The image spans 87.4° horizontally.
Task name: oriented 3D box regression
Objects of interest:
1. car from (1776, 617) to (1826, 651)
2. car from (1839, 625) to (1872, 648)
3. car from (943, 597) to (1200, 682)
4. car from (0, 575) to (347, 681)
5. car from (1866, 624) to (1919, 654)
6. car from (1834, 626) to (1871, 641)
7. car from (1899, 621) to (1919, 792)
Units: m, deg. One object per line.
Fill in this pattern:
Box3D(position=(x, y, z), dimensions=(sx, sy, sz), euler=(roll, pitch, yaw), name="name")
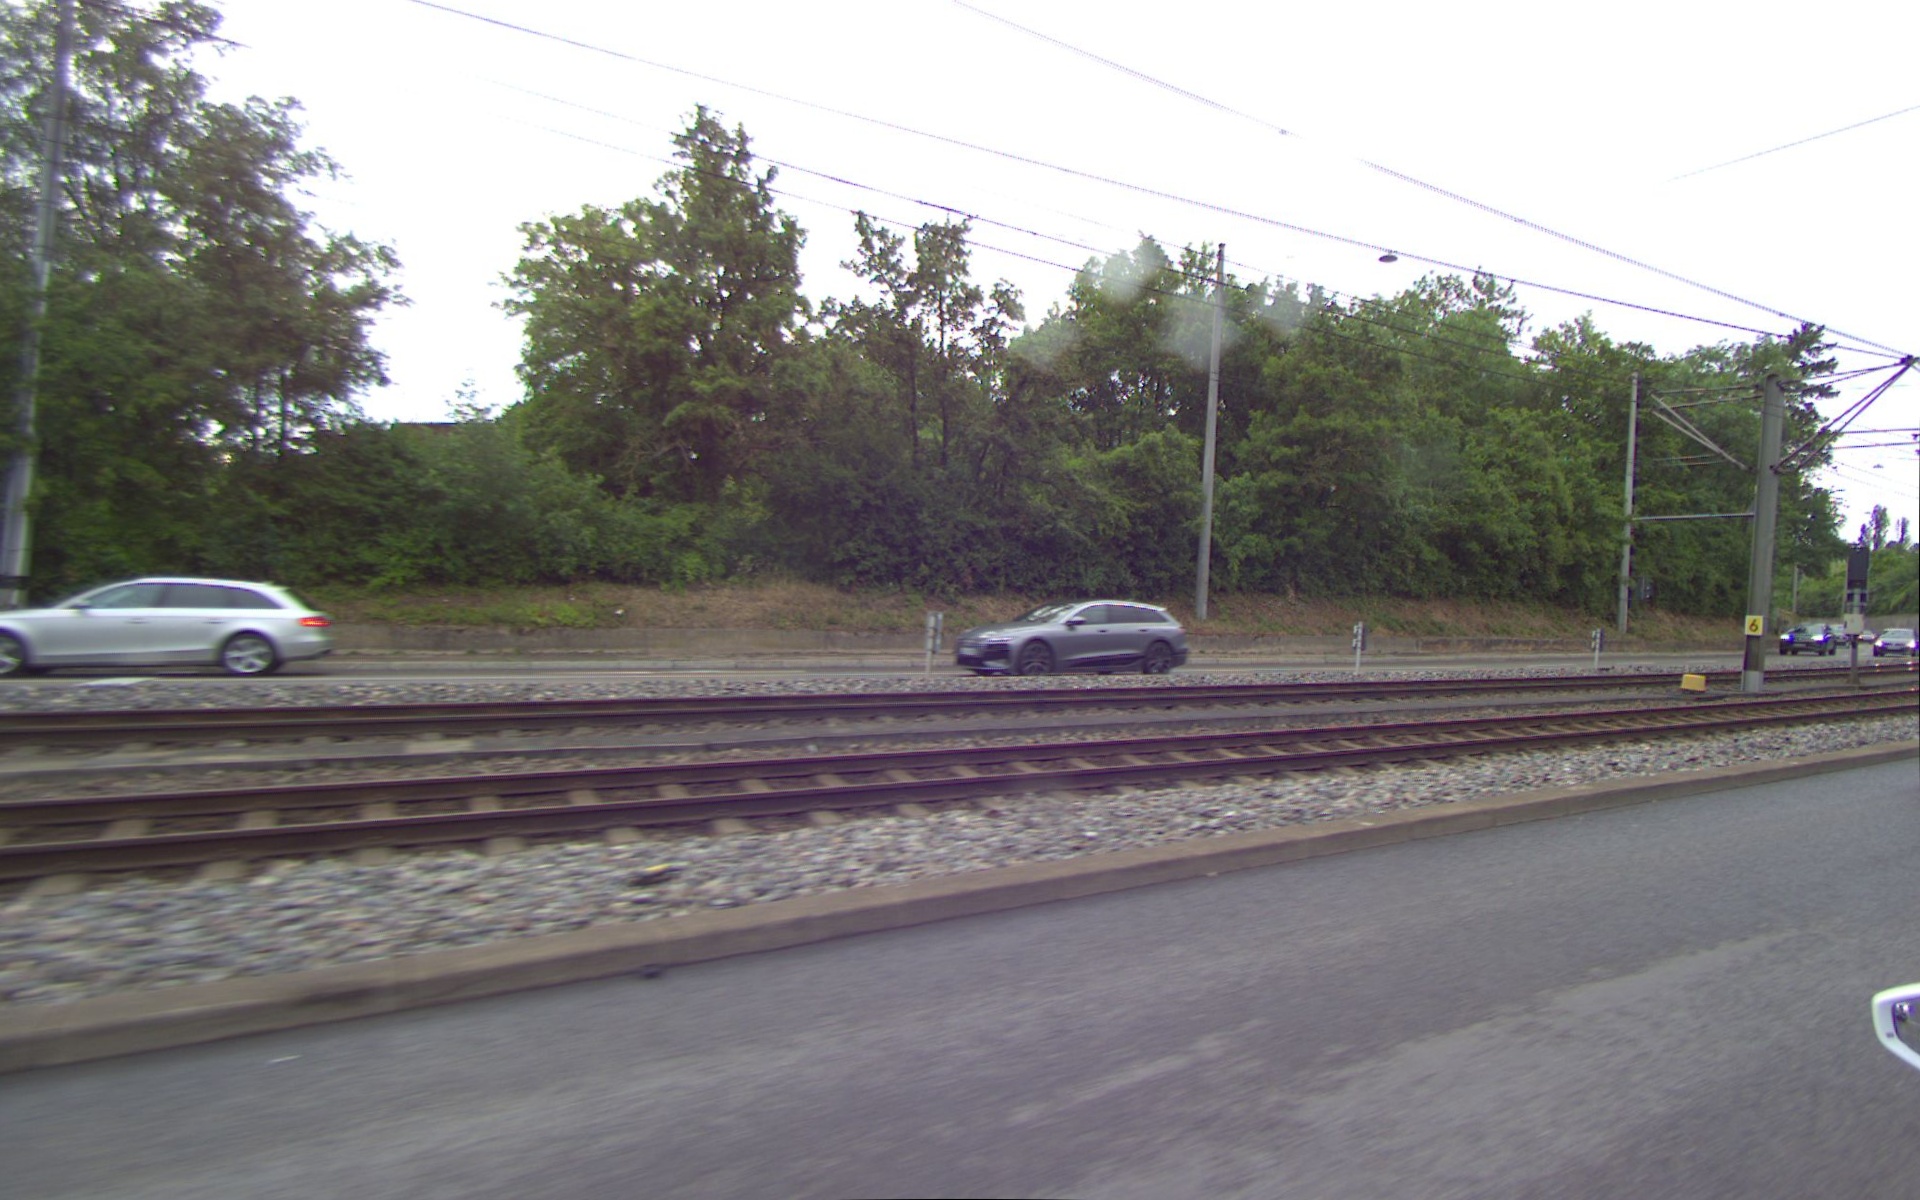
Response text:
Box3D(position=(44.709, 1.795, 53.358), dimensions=(1.765, 1.692, 4.712), euler=(1, 0, 43), name="car")
Box3D(position=(64.066, 2.596, 71.889), dimensions=(1.687, 1.629, 4.389), euler=(0, -1, 41), name="car")
Box3D(position=(2.198, 0.747, 19.292), dimensions=(4.799, 1.457, 1.852), euler=(1, -2, -31), name="car")
Box3D(position=(-11.854, 0.415, 14.822), dimensions=(4.647, 1.398, 1.811), euler=(2, -1, -29), name="car")
Box3D(position=(49.045, 2.052, 52.657), dimensions=(3.999, 1.434, 1.692), euler=(2, 0, -40), name="car")
Box3D(position=(78.468, 2.942, 88.360), dimensions=(1.520, 1.274, 3.955), euler=(0, -2, 27), name="car")
Box3D(position=(10.982, 1.028, 9.655), dimensions=(4.492, 1.544, 1.860), euler=(2, -1, -33), name="car")
